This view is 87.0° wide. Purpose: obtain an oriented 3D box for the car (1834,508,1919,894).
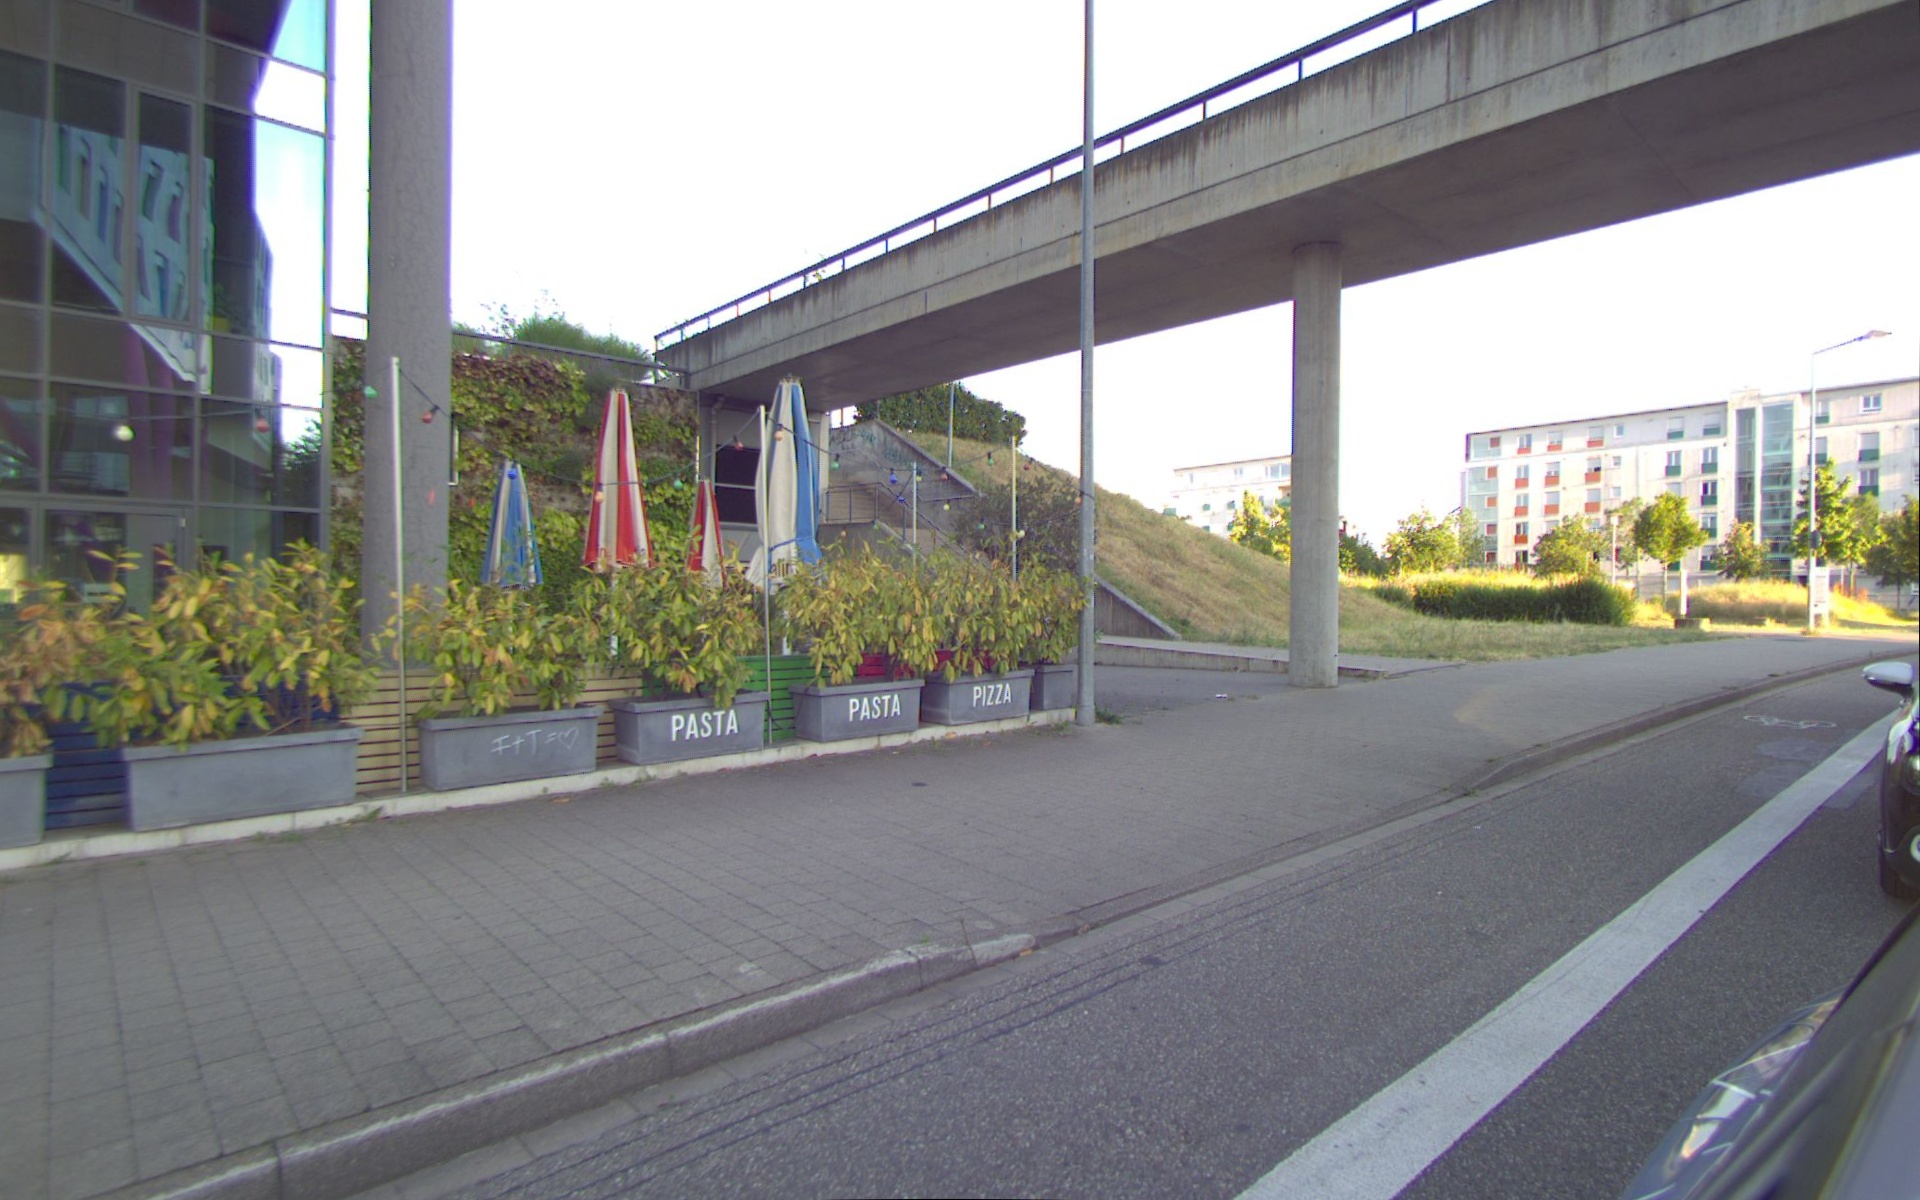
[{"bbox_3d":[5.776,0.416,5.042,4.003,1.571,1.757,0,0,-43],"label":"car"}]
